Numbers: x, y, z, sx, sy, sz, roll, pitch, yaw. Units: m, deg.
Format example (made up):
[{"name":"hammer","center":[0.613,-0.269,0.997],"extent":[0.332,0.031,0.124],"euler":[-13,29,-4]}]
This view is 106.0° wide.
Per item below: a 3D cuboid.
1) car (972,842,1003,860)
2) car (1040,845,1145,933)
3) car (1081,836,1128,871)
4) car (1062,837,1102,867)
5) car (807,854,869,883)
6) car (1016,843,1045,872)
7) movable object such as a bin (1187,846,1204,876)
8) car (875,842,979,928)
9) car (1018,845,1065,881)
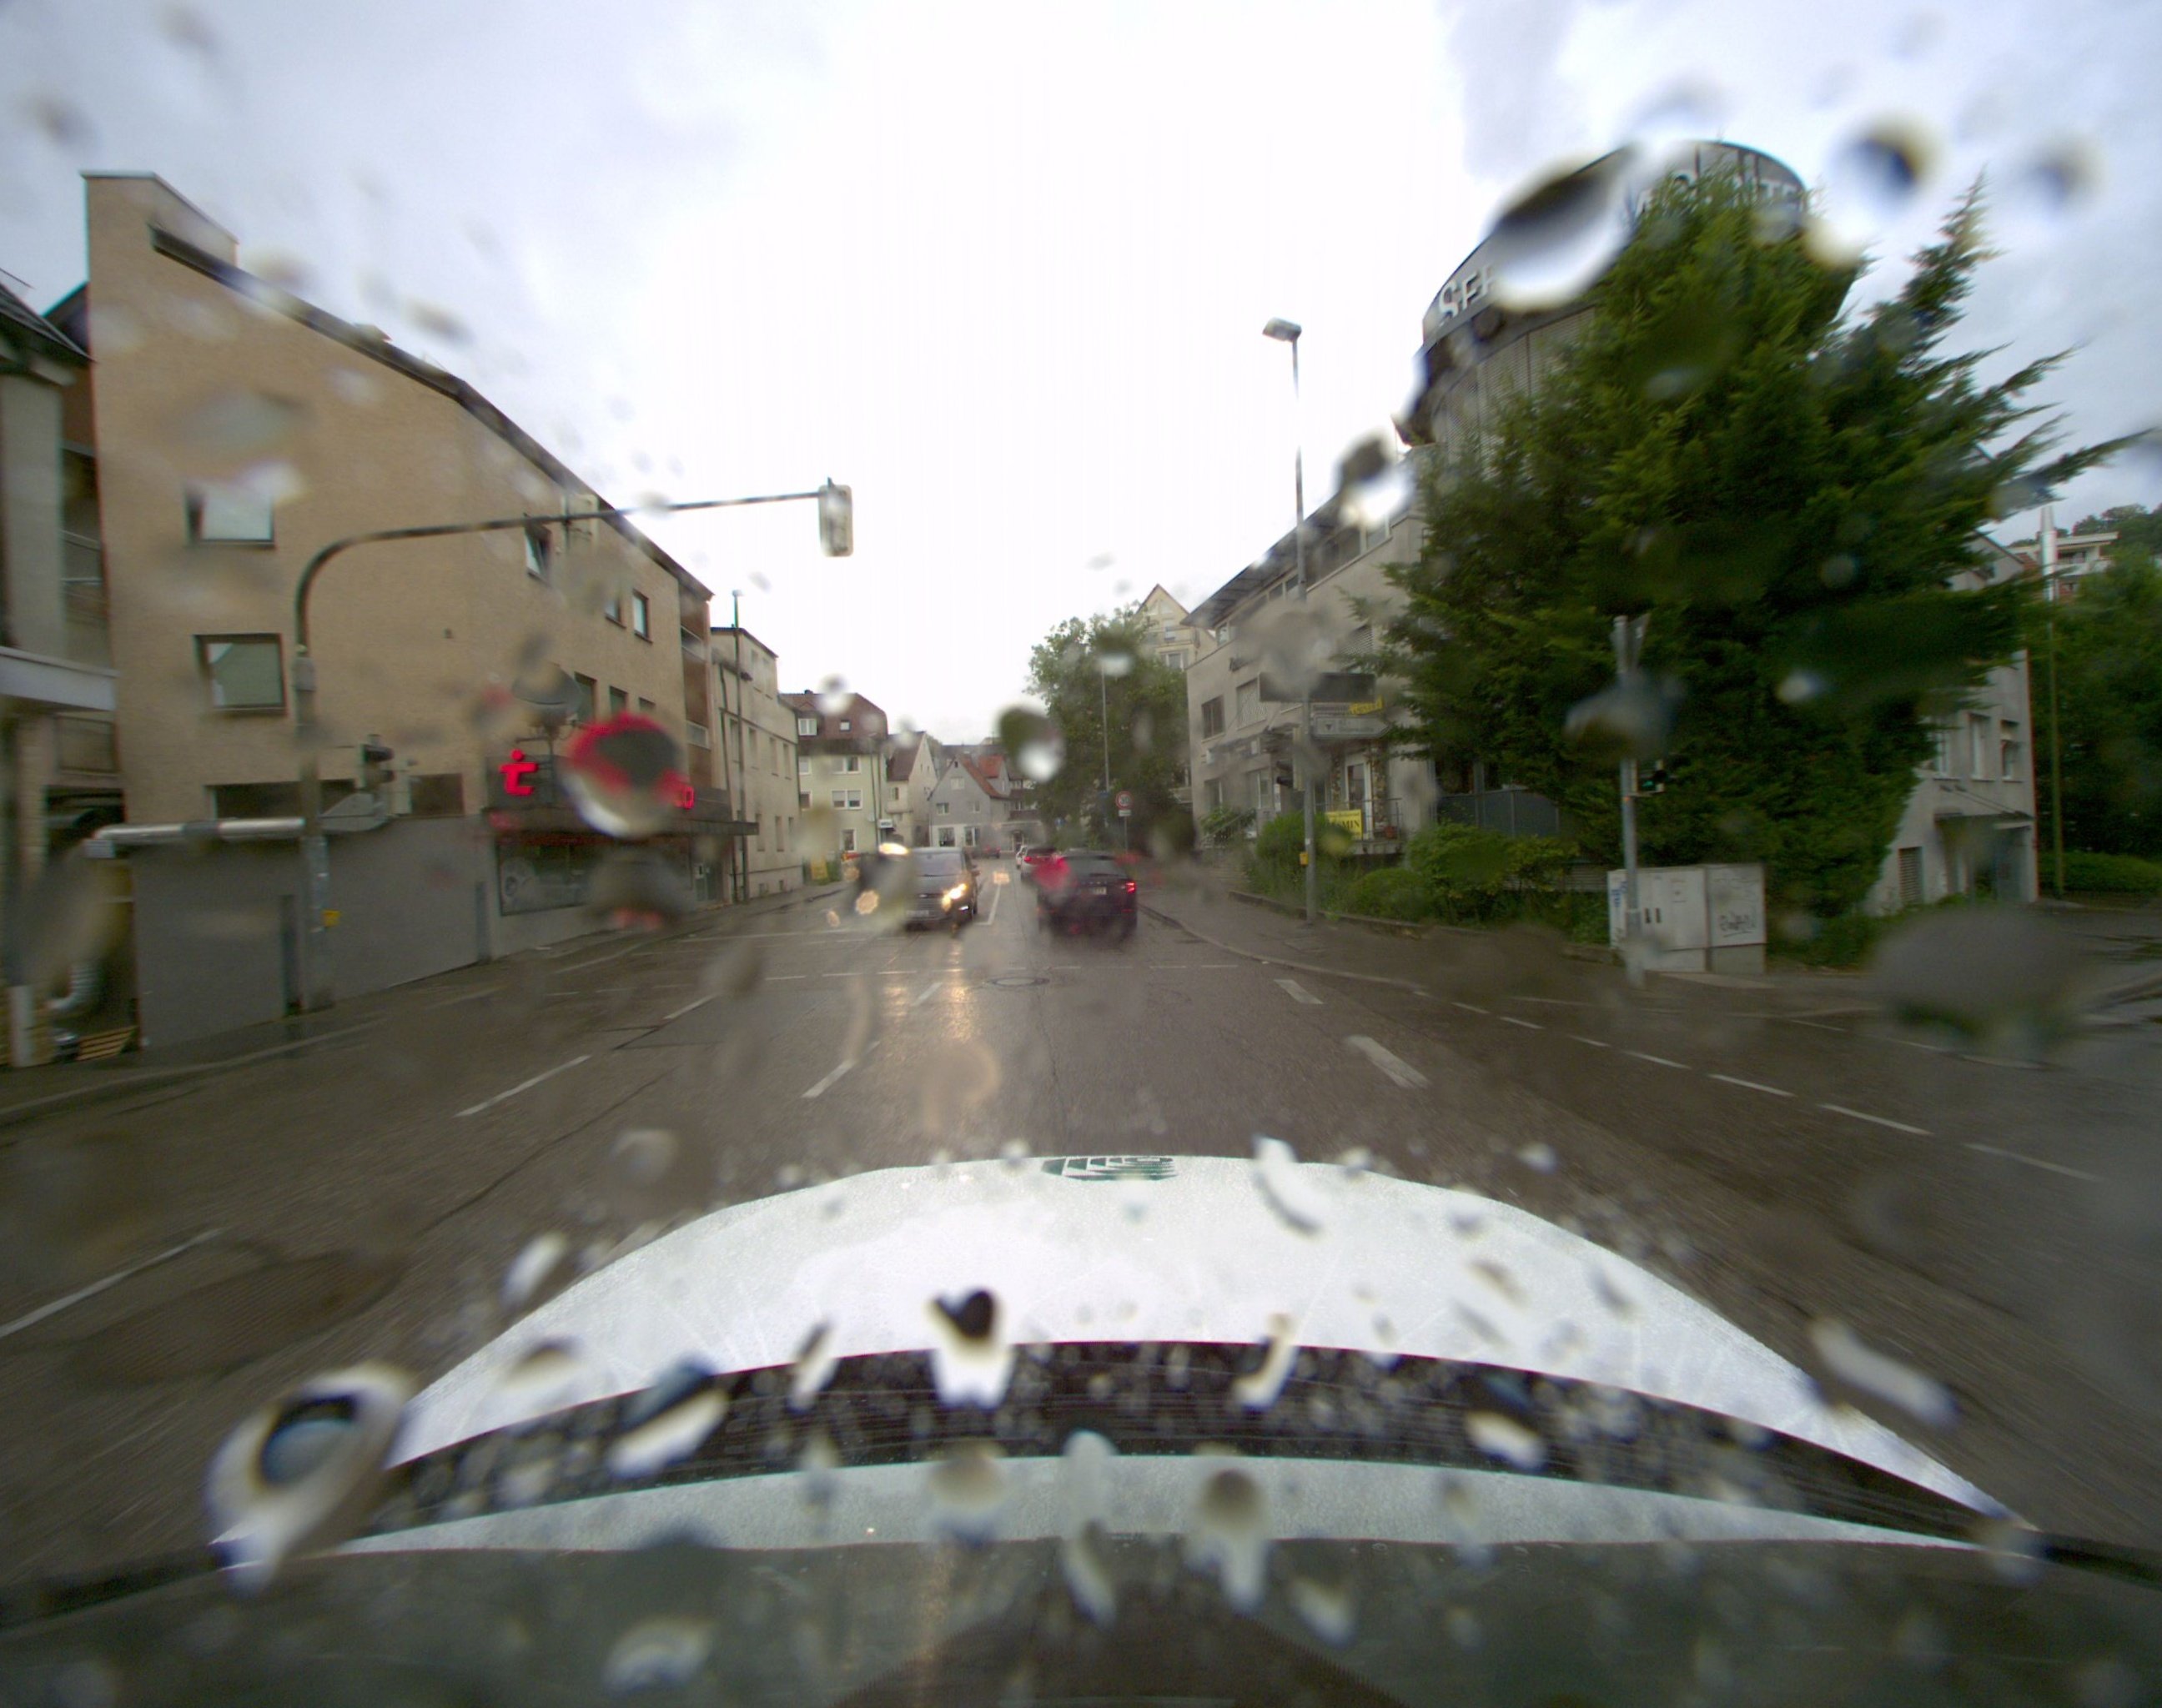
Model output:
[{"name":"car","center":[-9.445,-0.303,81.835],"extent":[1.903,1.590,3.655],"euler":[-3,0,-27]},{"name":"car","center":[0.090,0.585,15.920],"extent":[1.778,1.483,4.241],"euler":[0,0,-3]},{"name":"car","center":[1.192,-0.030,42.993],"extent":[1.851,1.641,3.529],"euler":[-3,1,-8]},{"name":"car","center":[0.011,-0.134,48.930],"extent":[1.851,1.641,3.861],"euler":[-3,1,-8]},{"name":"car","center":[-17.347,1.016,58.177],"extent":[4.019,1.386,1.784],"euler":[-9,4,-17]},{"name":"car","center":[-3.157,0.247,51.148],"extent":[1.724,1.591,4.178],"euler":[-1,-3,-3]},{"name":"movable object such as a bin","center":[3.880,0.241,27.572],"extent":[0.508,0.945,0.605],"euler":[1,5,13]},{"name":"car","center":[-3.179,0.562,17.577],"extent":[1.782,1.562,4.393],"euler":[-2,1,-6]},{"name":"car","center":[-1.703,0.351,34.760],"extent":[1.814,1.359,3.984],"euler":[-2,0,-4]}]
